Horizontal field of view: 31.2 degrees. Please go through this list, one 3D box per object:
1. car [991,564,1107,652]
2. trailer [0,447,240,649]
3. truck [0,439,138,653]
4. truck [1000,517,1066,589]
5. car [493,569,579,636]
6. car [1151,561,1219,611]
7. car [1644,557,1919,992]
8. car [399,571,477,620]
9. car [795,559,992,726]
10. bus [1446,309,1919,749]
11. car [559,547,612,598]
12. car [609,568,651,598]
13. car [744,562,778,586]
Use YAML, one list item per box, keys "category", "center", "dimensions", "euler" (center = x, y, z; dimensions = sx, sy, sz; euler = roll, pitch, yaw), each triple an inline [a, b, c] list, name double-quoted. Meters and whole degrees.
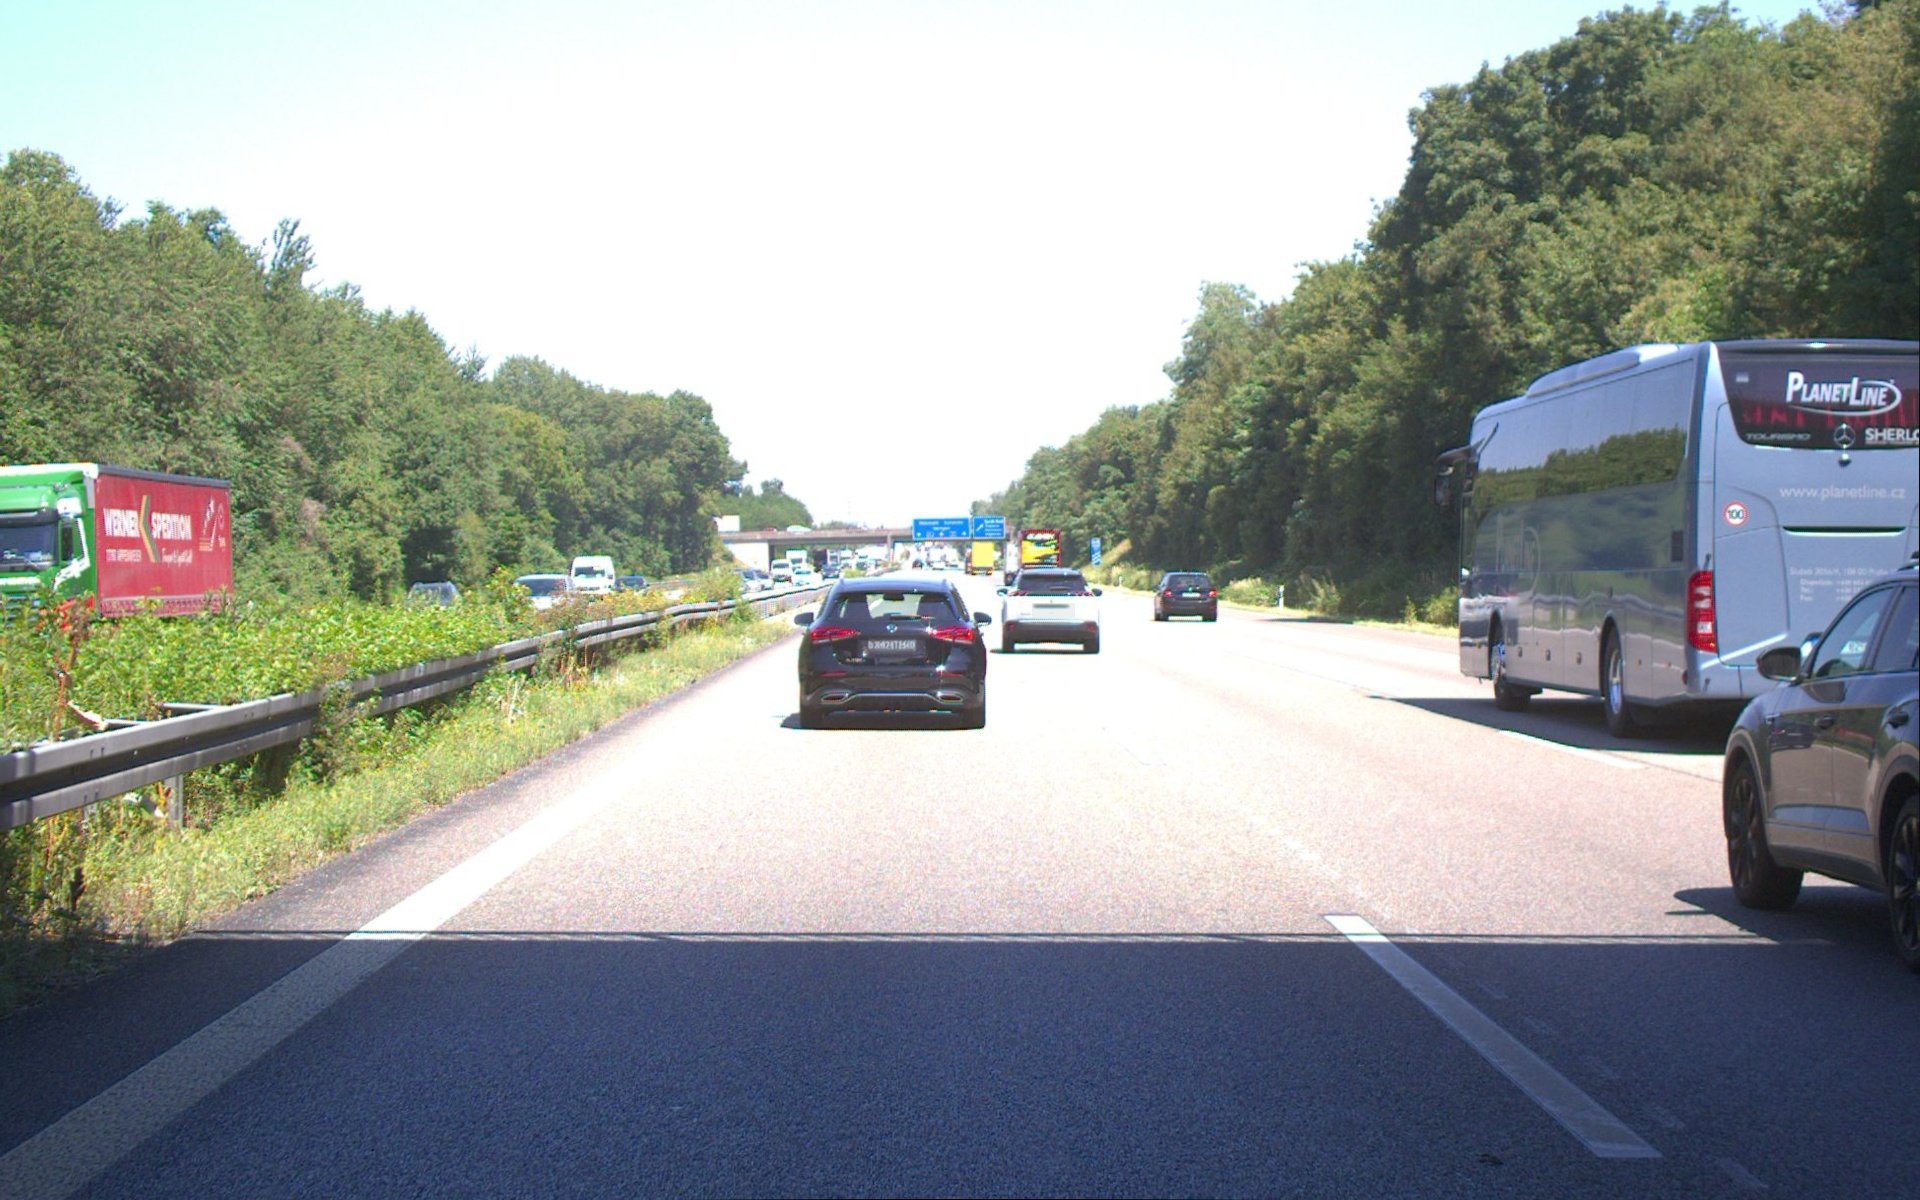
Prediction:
- category: "car"
  center: [1.604, 0.121, 63.455]
  dimensions: [1.899, 1.527, 4.242]
  euler: [0, 1, -2]
- category: "trailer"
  center: [-18.735, -1.109, 75.719]
  dimensions: [3.217, 4.045, 12.743]
  euler: [-1, 1, -1]
- category: "truck"
  center: [-18.599, -1.042, 68.269]
  dimensions: [3.217, 4.045, 5.619]
  euler: [-1, 1, -1]
- category: "truck"
  center: [4.823, -3.119, 231.121]
  dimensions: [3.647, 4.574, 15.768]
  euler: [1, 1, -2]
- category: "car"
  center: [-10.074, 0.038, 81.904]
  dimensions: [1.668, 1.506, 4.520]
  euler: [-1, 1, -3]
- category: "car"
  center: [6.689, -0.434, 102.502]
  dimensions: [1.789, 1.456, 3.949]
  euler: [0, 1, 0]
- category: "car"
  center: [4.311, 0.603, 14.187]
  dimensions: [1.899, 1.527, 4.760]
  euler: [0, 1, -2]
- category: "car"
  center: [-16.620, -0.169, 109.681]
  dimensions: [1.848, 1.445, 4.872]
  euler: [-2, 1, -2]
- category: "car"
  center: [-0.667, 0.366, 33.579]
  dimensions: [1.799, 1.497, 4.242]
  euler: [0, 1, -2]
- category: "bus"
  center: [7.191, -0.651, 34.291]
  dimensions: [2.802, 3.584, 12.475]
  euler: [0, 1, 0]
- category: "car"
  center: [-19.625, -1.456, 180.506]
  dimensions: [2.087, 2.543, 6.228]
  euler: [-2, 1, -1]
- category: "car"
  center: [-15.788, -0.831, 164.557]
  dimensions: [1.668, 1.398, 4.707]
  euler: [-1, 1, -2]
- category: "car"
  center: [-12.151, -1.619, 209.966]
  dimensions: [1.838, 1.378, 4.428]
  euler: [-2, 1, -1]
